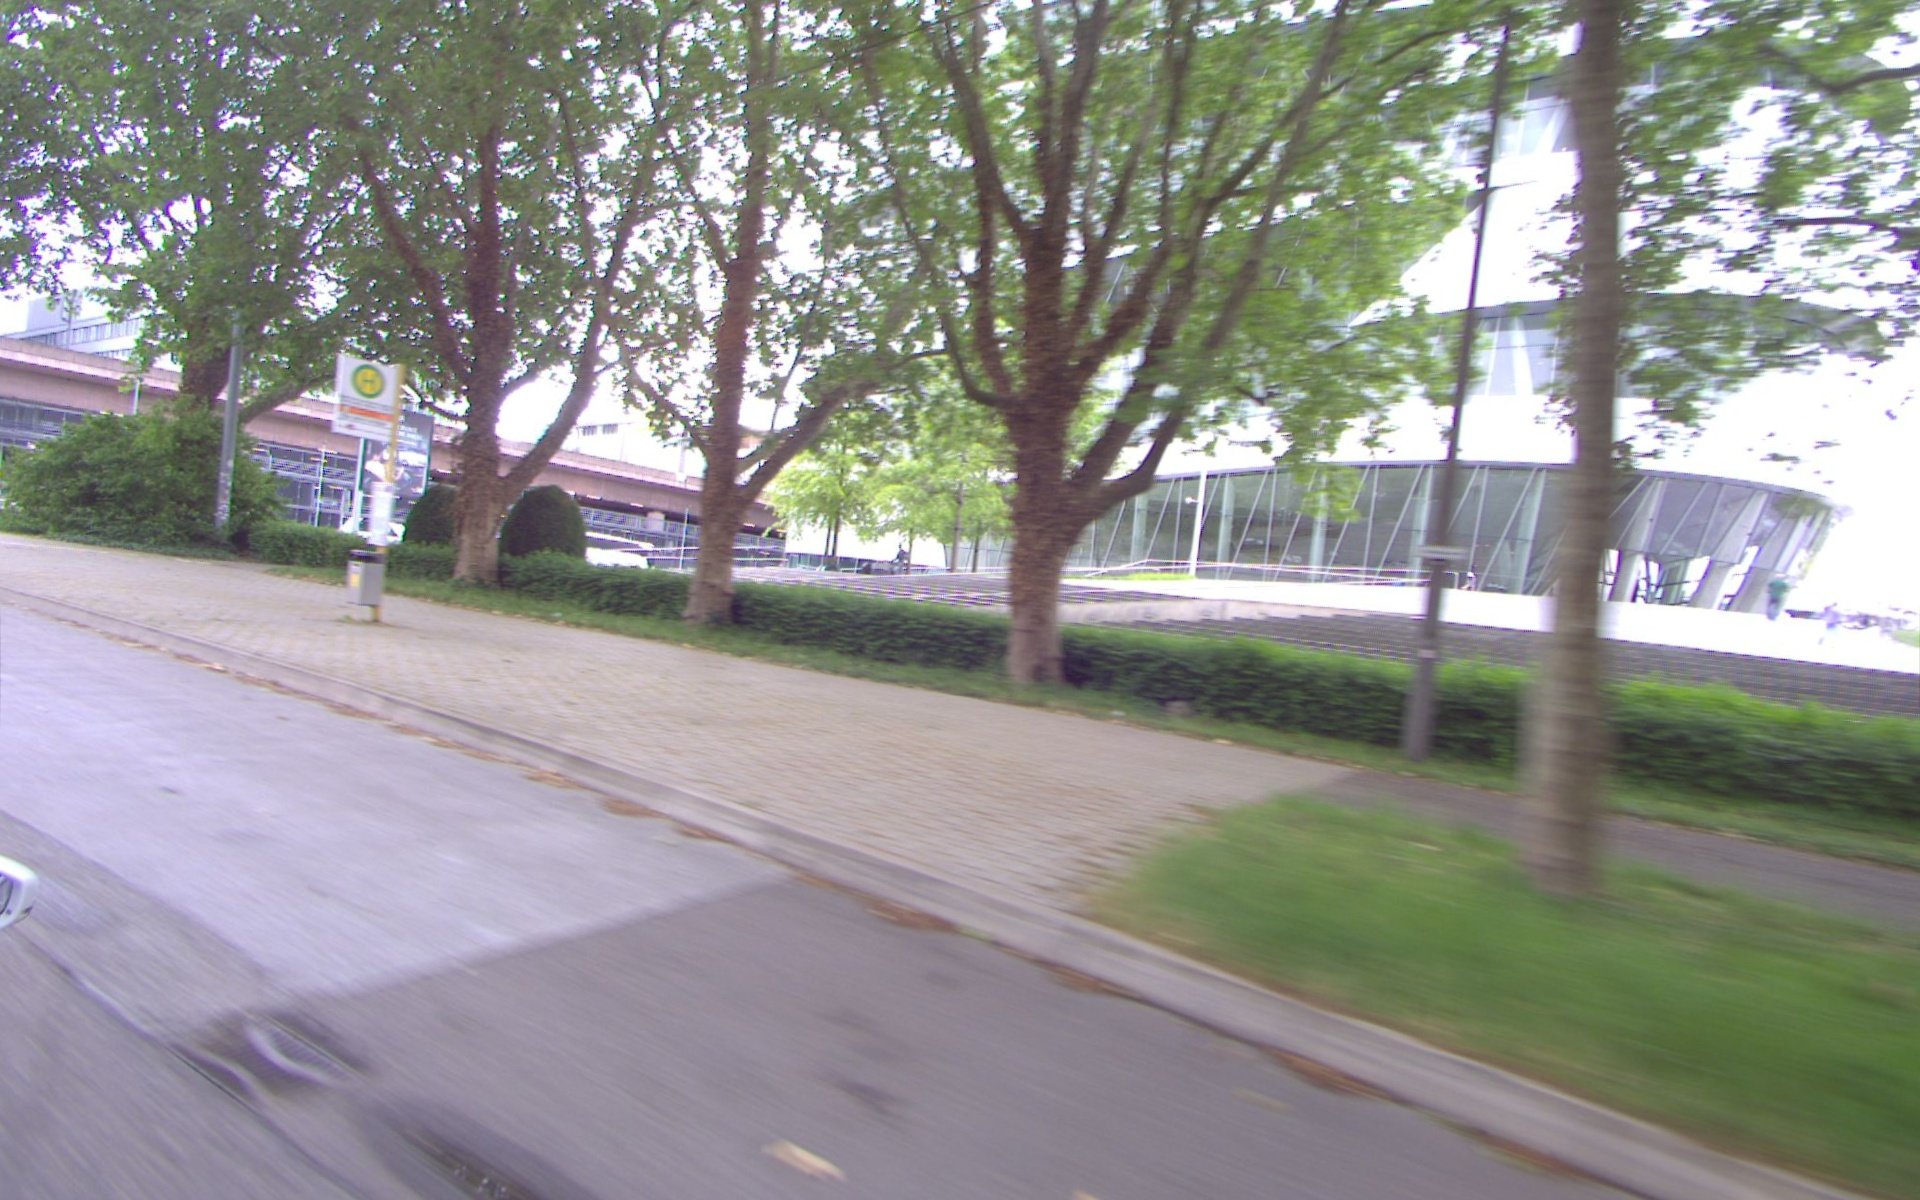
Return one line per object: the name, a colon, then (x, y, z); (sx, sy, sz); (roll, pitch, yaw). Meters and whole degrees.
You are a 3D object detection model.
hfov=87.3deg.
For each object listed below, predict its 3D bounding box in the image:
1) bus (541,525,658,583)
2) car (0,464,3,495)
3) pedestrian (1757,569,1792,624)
bus: (-34.052, -4.253, 95.662); (2.711, 3.981, 11.071); (7, -1, 29)
car: (-49.215, -5.885, 49.698); (4.716, 2.038, 2.274); (6, -1, 41)
pedestrian: (28.376, -0.111, 35.041); (0.831, 1.786, 0.673); (7, 0, -44)
